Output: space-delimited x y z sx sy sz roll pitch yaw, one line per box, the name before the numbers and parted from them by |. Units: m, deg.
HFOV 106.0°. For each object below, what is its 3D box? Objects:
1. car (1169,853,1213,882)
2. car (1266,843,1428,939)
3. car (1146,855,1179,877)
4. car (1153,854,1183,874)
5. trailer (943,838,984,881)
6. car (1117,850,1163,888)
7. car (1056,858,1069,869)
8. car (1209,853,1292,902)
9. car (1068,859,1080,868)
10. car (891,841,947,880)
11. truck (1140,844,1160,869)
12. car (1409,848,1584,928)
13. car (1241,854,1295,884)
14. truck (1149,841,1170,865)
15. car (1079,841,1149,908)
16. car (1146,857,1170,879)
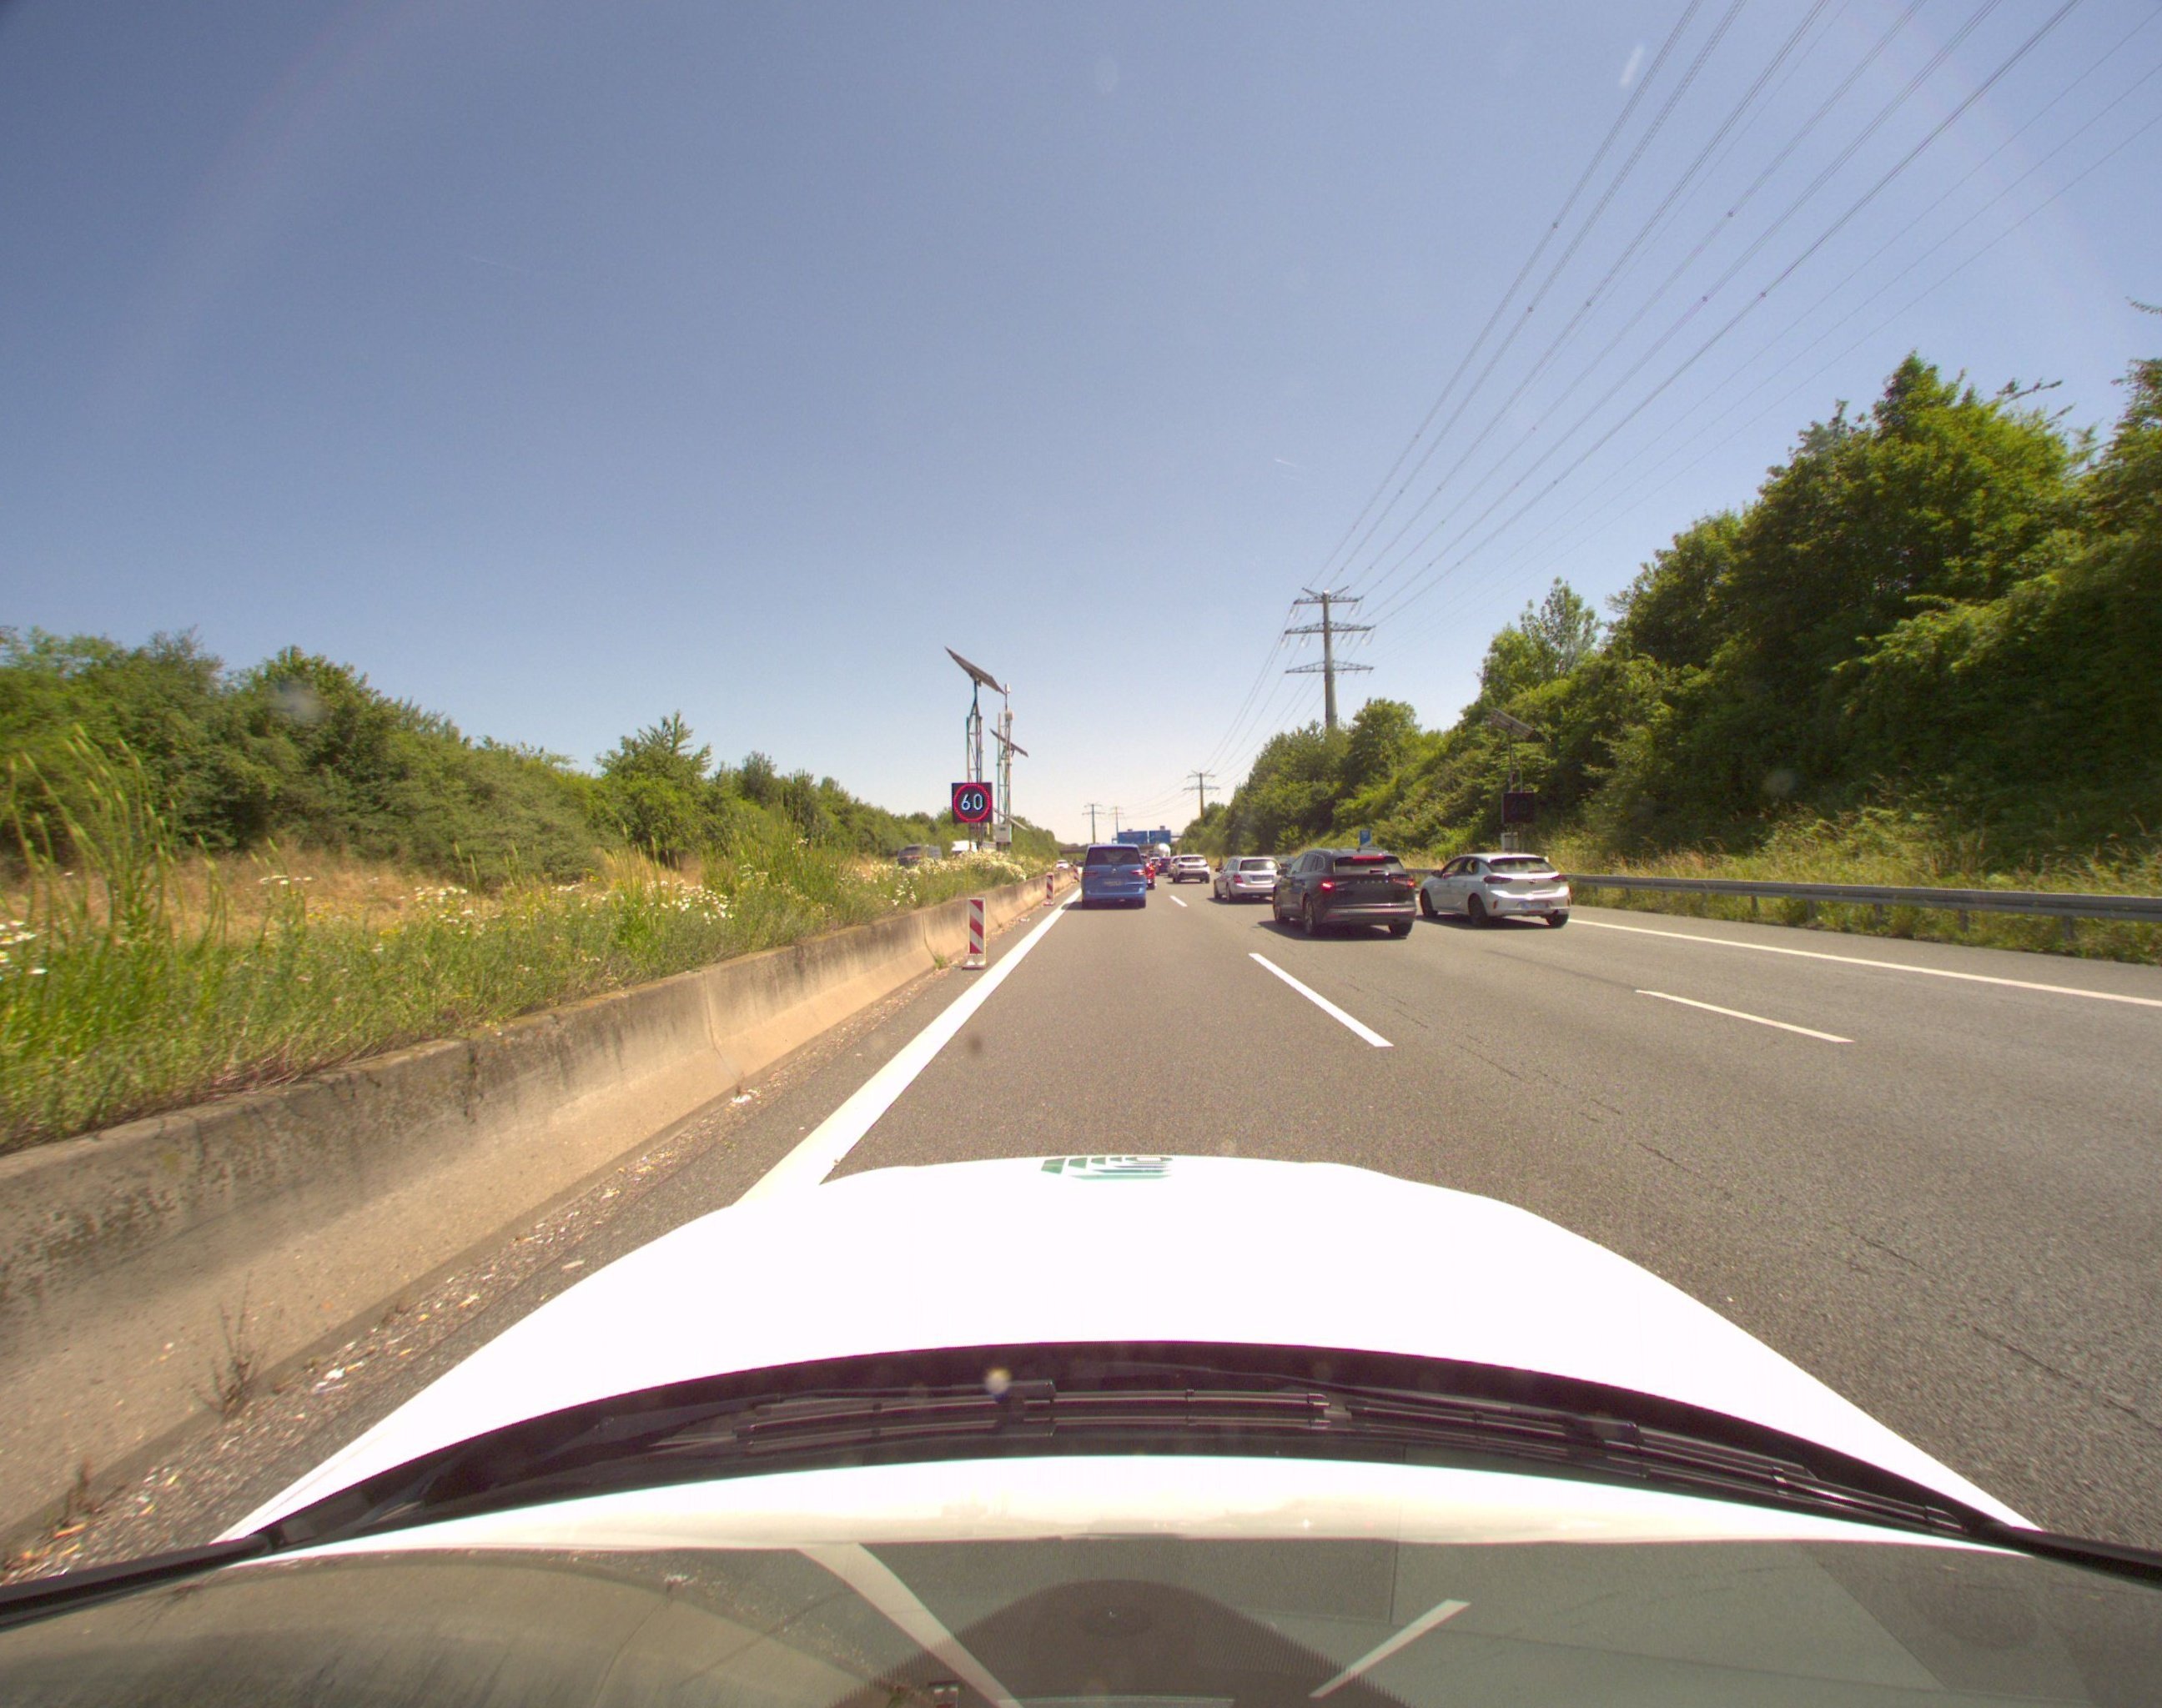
car | 5.974 0.706 44.716 1.902 1.508 3.921 0 0 0
car | 5.027 0.621 16.075 1.821 1.614 4.432 -1 0 1
car | 5.705 0.818 57.291 1.902 1.516 4.383 0 0 0
car | 6.828 0.797 64.106 1.902 1.516 4.383 0 0 0
trailer | -11.980 0.539 83.573 2.949 4.057 5.436 -4 0 2
car | 2.665 0.667 37.587 1.902 1.631 4.384 -1 0 1
car | -2.526 1.300 111.747 1.577 1.443 4.003 0 0 3
car | 5.388 0.710 26.479 1.815 1.437 4.383 0 0 0
car | -1.243 1.671 151.254 1.986 1.546 4.915 -2 0 2
car | -9.518 0.394 48.286 1.986 2.091 5.232 -2 0 2
truck | 7.836 0.319 92.726 1.986 2.723 5.681 0 0 1
car | 8.525 0.631 17.133 1.734 1.470 4.016 -1 0 2
car | 9.077 0.696 39.852 1.729 1.378 4.302 0 0 0
truck | 14.188 -0.186 149.043 2.635 4.072 16.444 0 0 1
car | 0.923 0.577 25.154 1.866 1.879 4.381 0 0 -1
car | 7.188 1.264 76.139 1.986 2.014 4.002 0 0 2
